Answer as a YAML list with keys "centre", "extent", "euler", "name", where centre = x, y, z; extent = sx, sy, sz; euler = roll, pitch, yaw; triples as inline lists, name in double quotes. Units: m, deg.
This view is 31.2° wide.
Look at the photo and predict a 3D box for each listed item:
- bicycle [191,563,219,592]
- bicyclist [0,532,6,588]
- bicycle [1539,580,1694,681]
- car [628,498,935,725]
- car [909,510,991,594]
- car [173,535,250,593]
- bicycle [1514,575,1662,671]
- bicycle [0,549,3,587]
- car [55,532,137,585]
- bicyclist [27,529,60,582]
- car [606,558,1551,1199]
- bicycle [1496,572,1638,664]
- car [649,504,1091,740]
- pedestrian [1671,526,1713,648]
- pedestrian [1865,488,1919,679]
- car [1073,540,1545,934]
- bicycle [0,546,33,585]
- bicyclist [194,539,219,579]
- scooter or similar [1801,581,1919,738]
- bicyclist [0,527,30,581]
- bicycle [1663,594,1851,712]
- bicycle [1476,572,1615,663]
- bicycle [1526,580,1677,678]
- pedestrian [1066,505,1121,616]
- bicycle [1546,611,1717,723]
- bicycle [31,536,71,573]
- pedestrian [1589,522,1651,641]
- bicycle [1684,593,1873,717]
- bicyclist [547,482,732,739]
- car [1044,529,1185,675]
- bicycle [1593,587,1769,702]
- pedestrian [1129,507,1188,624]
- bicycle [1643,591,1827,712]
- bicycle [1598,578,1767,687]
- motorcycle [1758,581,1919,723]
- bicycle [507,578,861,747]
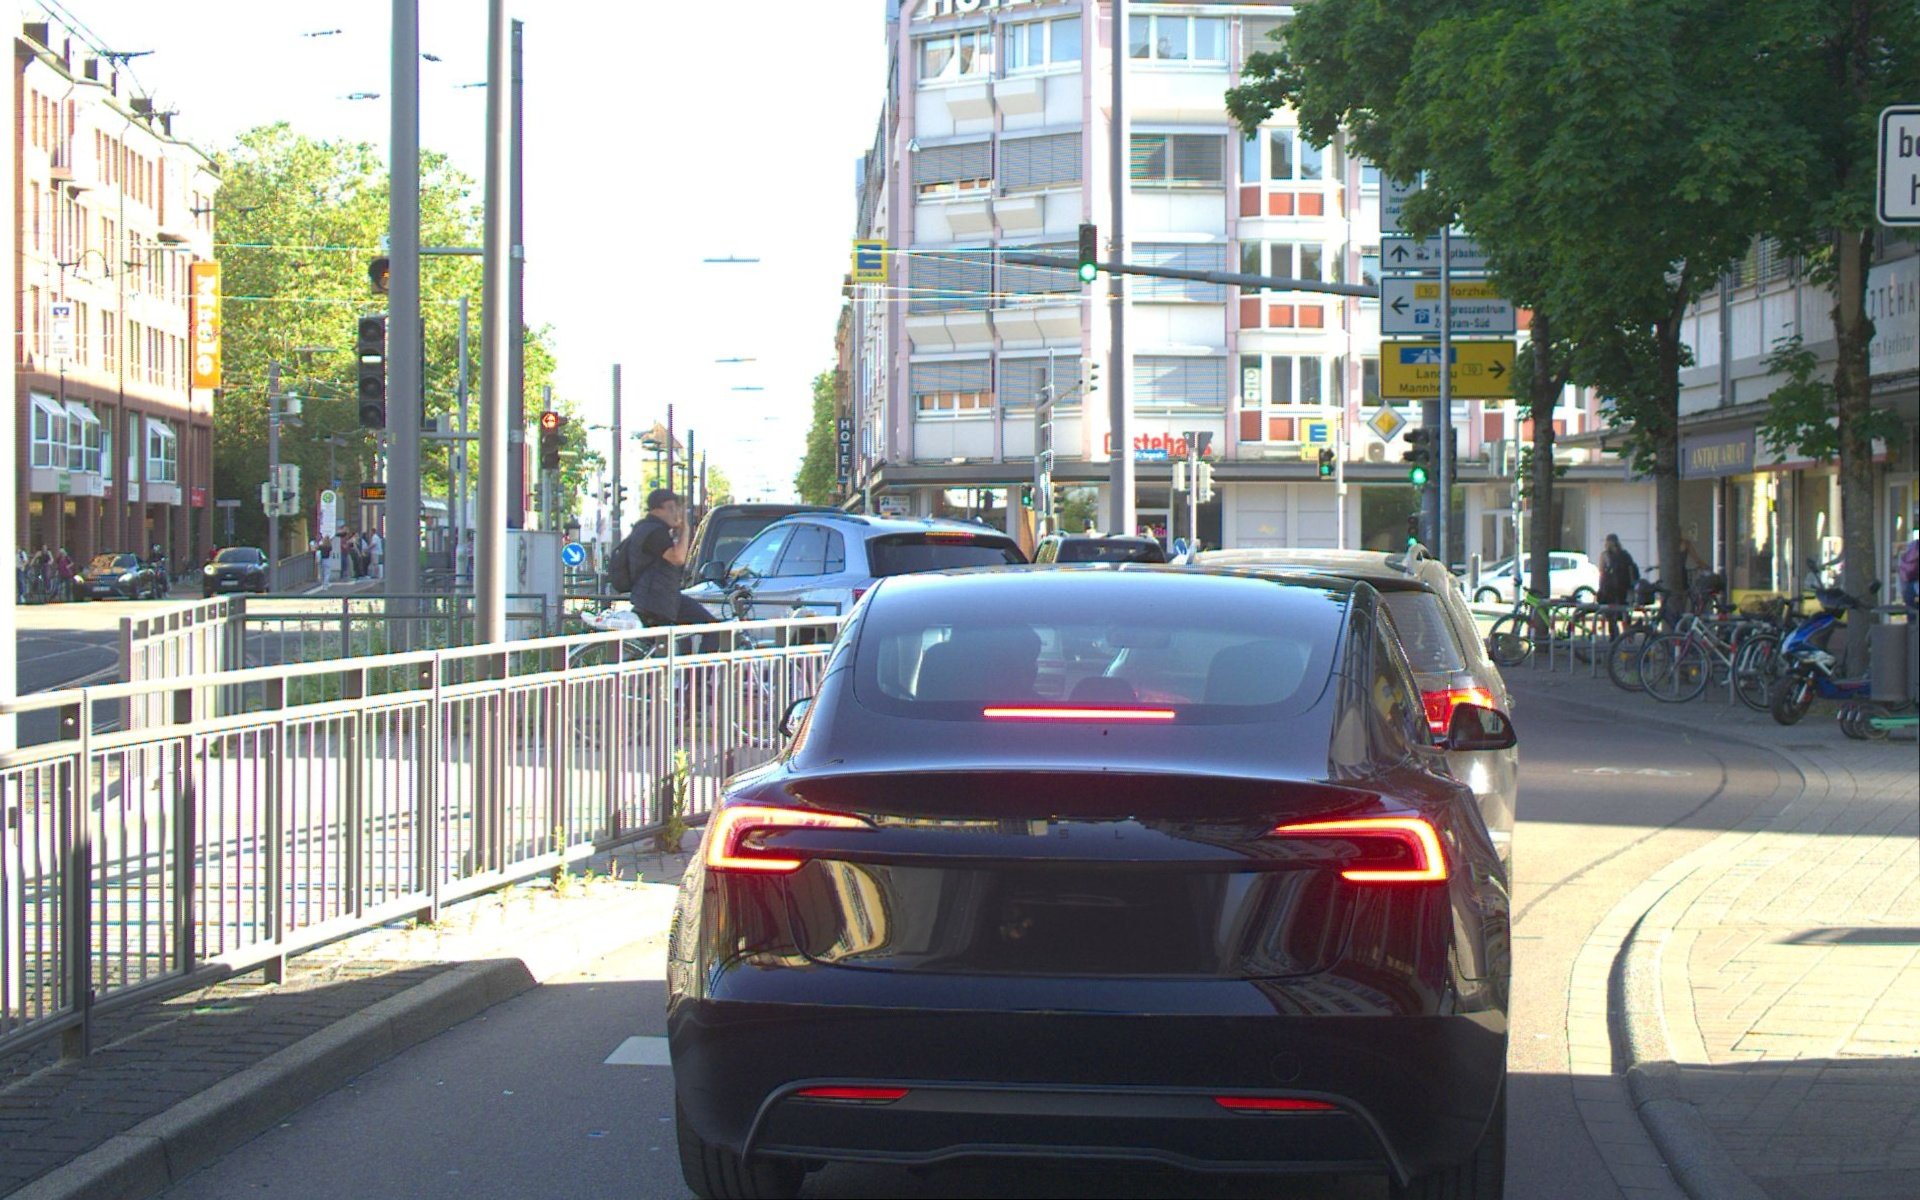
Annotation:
- centre: [-29.468, -0.885, 134.169]
  extent: [0.529, 1.085, 2.224]
  euler: [1, 1, 1]
  name: "bicycle"
- centre: [-26.998, -1.109, 95.433]
  extent: [0.784, 1.558, 0.746]
  euler: [1, 0, 0]
  name: "bicyclist"
- centre: [7.311, 0.340, 38.296]
  extent: [1.650, 1.095, 0.350]
  euler: [1, 0, 1]
  name: "bicycle"
- centre: [-1.770, 0.075, 32.638]
  extent: [1.993, 2.007, 4.001]
  euler: [0, 1, -17]
  name: "car"
- centre: [-0.229, -1.036, 74.475]
  extent: [1.719, 1.745, 3.754]
  euler: [1, 1, -1]
  name: "car"
- centre: [-23.057, -1.104, 106.029]
  extent: [1.697, 1.725, 3.707]
  euler: [1, 1, -3]
  name: "car"
- centre: [7.363, 0.266, 40.335]
  extent: [1.650, 1.095, 0.350]
  euler: [1, 0, 1]
  name: "bicycle"
- centre: [-27.001, -0.887, 94.914]
  extent: [0.537, 1.085, 2.225]
  euler: [1, 1, 0]
  name: "bicycle"
- centre: [-25.641, -1.231, 102.129]
  extent: [1.710, 1.521, 4.037]
  euler: [1, 1, -5]
  name: "car"
- centre: [-27.284, -1.325, 102.373]
  extent: [0.784, 1.558, 0.746]
  euler: [0, 1, 2]
  name: "bicyclist"
- centre: [0.374, 0.637, 8.711]
  extent: [1.829, 1.450, 3.999]
  euler: [1, 1, 4]
  name: "car"
- centre: [7.300, 0.209, 41.381]
  extent: [1.650, 1.095, 0.350]
  euler: [0, 1, 1]
  name: "bicycle"
- centre: [-0.788, 0.130, 26.435]
  extent: [1.883, 1.656, 4.159]
  euler: [1, 1, -25]
  name: "car"
- centre: [10.303, -0.190, 48.395]
  extent: [0.526, 1.704, 0.403]
  euler: [1, 0, 6]
  name: "pedestrian"
- centre: [10.013, -0.171, 36.445]
  extent: [0.662, 2.007, 0.579]
  euler: [1, 0, 2]
  name: "pedestrian"
- centre: [1.516, 0.477, 14.959]
  extent: [1.751, 1.449, 3.999]
  euler: [1, 1, 6]
  name: "car"
- centre: [-27.288, -0.985, 98.988]
  extent: [0.529, 1.085, 2.284]
  euler: [4, 0, 0]
  name: "bicycle"
- centre: [-29.450, -1.606, 134.428]
  extent: [0.784, 1.558, 0.746]
  euler: [1, 0, 2]
  name: "bicyclist"
- centre: [7.559, 0.470, 27.184]
  extent: [1.644, 1.211, 0.644]
  euler: [1, 0, 30]
  name: "scooter or similar"
- centre: [-27.281, -1.335, 98.999]
  extent: [0.784, 1.558, 0.746]
  euler: [0, 1, 0]
  name: "bicyclist"
- centre: [7.288, 0.484, 31.444]
  extent: [1.649, 1.057, 0.350]
  euler: [1, 0, -10]
  name: "bicycle"
- centre: [7.233, 0.218, 42.475]
  extent: [1.650, 1.095, 0.350]
  euler: [1, 0, 1]
  name: "bicycle"
- centre: [7.331, 0.326, 39.322]
  extent: [1.650, 1.095, 0.350]
  euler: [1, 0, 1]
  name: "bicycle"
- centre: [2.441, -0.721, 62.964]
  extent: [0.921, 2.007, 0.972]
  euler: [1, 0, -1]
  name: "pedestrian"
- centre: [6.690, 0.669, 34.252]
  extent: [1.649, 1.095, 0.350]
  euler: [1, 0, -10]
  name: "bicycle"
- centre: [-27.222, -1.346, 102.958]
  extent: [0.529, 1.085, 2.284]
  euler: [1, 1, 1]
  name: "bicycle"
- centre: [9.295, -0.261, 48.424]
  extent: [0.699, 1.656, 0.777]
  euler: [1, 0, -1]
  name: "pedestrian"
- centre: [7.385, 0.494, 31.022]
  extent: [1.649, 1.095, 0.350]
  euler: [1, 0, -10]
  name: "bicycle"
- centre: [-2.080, 0.061, 22.259]
  extent: [0.758, 1.623, 0.978]
  euler: [0, 1, -39]
  name: "bicyclist"
- centre: [1.945, 0.009, 44.154]
  extent: [1.598, 1.772, 3.981]
  euler: [1, 1, 0]
  name: "car"
- centre: [7.001, 0.431, 33.395]
  extent: [1.649, 1.095, 0.350]
  euler: [1, 0, -10]
  name: "bicycle"
- centre: [3.433, -0.599, 59.467]
  extent: [0.921, 2.007, 0.972]
  euler: [1, 0, -1]
  name: "pedestrian"
- centre: [7.183, 0.474, 31.868]
  extent: [1.649, 1.095, 0.350]
  euler: [1, 0, -10]
  name: "bicycle"
- centre: [7.420, 0.332, 35.343]
  extent: [1.650, 1.095, 0.350]
  euler: [1, 0, 1]
  name: "bicycle"
- centre: [7.716, 0.441, 29.232]
  extent: [1.707, 1.169, 0.541]
  euler: [1, 0, -2]
  name: "motorcycle"
- centre: [-1.781, 0.395, 22.476]
  extent: [2.329, 1.050, 0.631]
  euler: [0, 1, -38]
  name: "bicycle"
